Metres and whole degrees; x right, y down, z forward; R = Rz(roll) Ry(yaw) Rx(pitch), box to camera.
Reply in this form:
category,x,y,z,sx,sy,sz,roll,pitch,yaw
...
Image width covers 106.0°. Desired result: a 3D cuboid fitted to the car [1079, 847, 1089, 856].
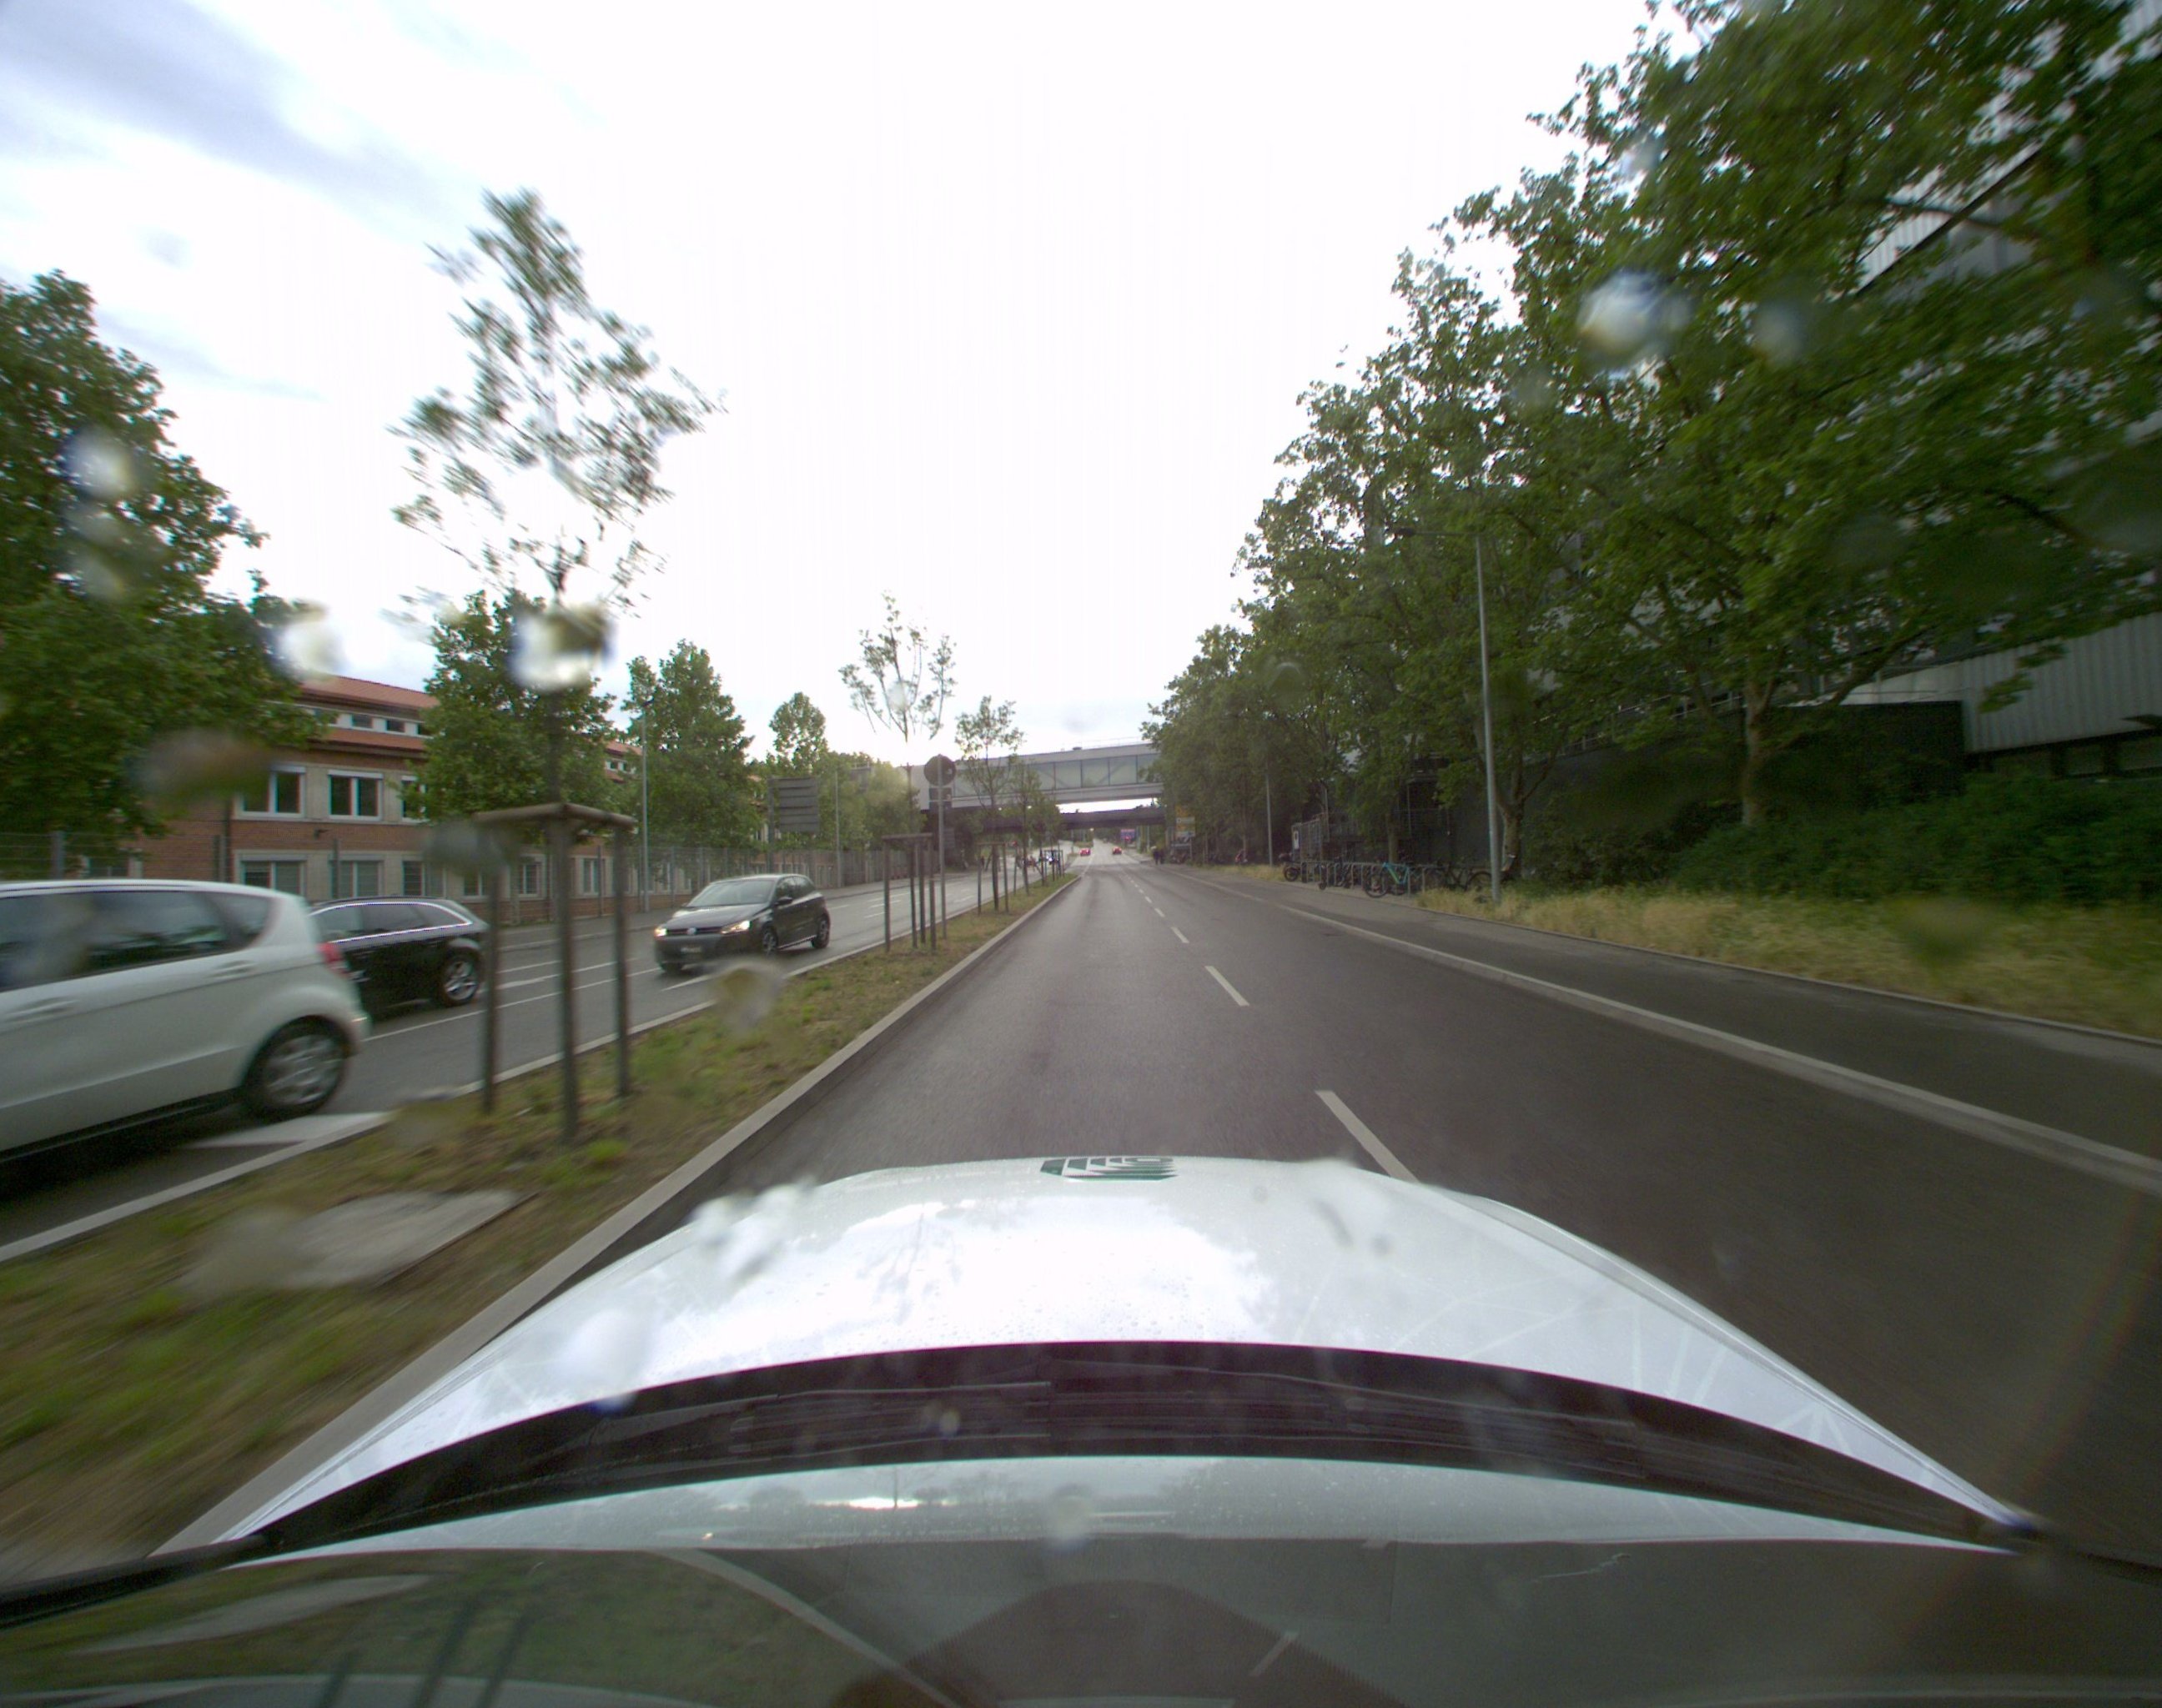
category,x,y,z,sx,sy,sz,roll,pitch,yaw
car,0.693,-0.468,170.497,2.070,1.718,4.197,-1,-1,-1

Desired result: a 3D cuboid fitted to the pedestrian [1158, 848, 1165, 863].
category,x,y,z,sx,sy,sz,roll,pitch,yaw
pedestrian,8.746,0.146,88.203,0.646,1.596,0.581,-3,0,13

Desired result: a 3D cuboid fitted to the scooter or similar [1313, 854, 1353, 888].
category,x,y,z,sx,sy,sz,roll,pitch,yaw
scooter or similar,8.436,0.570,27.261,1.210,1.091,0.312,-3,0,-3

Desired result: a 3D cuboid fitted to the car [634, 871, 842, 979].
category,x,y,z,sx,sy,sz,roll,pitch,yaw
car,-5.518,1.055,13.717,1.572,1.404,4.113,-3,0,2

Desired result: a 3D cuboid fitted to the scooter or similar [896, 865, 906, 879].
category,x,y,z,sx,sy,sz,roll,pitch,yaw
scooter or similar,-16.112,1.628,72.862,0.309,1.218,1.312,-3,0,13

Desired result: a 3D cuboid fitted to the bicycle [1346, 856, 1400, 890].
category,x,y,z,sx,sy,sz,roll,pitch,yaw
bicycle,9.357,0.599,26.129,1.546,1.005,0.393,-3,0,1

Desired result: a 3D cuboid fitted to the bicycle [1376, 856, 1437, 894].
category,x,y,z,sx,sy,sz,roll,pitch,yaw
bicycle,9.306,0.589,23.325,1.546,1.005,0.393,-3,0,1

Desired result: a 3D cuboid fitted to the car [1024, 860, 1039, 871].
category,x,y,z,sx,sy,sz,roll,pitch,yaw
car,-6.887,1.570,113.605,1.710,1.437,3.772,-4,0,0

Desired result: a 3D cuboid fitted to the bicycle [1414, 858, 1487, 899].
category,x,y,z,sx,sy,sz,roll,pitch,yaw
bicycle,9.304,0.606,20.519,1.602,0.939,0.387,-3,-1,1

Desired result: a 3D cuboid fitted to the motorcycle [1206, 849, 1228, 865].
category,x,y,z,sx,sy,sz,roll,pitch,yaw
motorcycle,12.115,0.265,72.572,1.851,1.253,0.627,-3,0,-15

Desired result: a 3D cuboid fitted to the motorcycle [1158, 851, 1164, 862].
category,x,y,z,sx,sy,sz,roll,pitch,yaw
motorcycle,8.682,0.229,88.446,0.468,1.136,1.819,-3,0,1

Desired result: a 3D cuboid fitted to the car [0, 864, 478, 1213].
category,x,y,z,sx,sy,sz,roll,pitch,yaw
car,-5.852,0.908,4.294,1.764,1.589,4.488,-3,-1,3

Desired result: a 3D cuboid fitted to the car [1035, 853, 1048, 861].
category,x,y,z,sx,sy,sz,roll,pitch,yaw
car,-7.092,0.558,147.917,2.057,1.361,4.756,-3,0,0

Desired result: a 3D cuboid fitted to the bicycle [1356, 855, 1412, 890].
category,x,y,z,sx,sy,sz,roll,pitch,yaw
bicycle,9.415,0.575,25.307,1.546,1.005,0.393,-3,0,1

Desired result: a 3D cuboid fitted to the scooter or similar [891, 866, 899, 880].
category,x,y,z,sx,sy,sz,roll,pitch,yaw
scooter or similar,-16.138,1.631,70.667,0.310,1.218,1.308,-3,0,2

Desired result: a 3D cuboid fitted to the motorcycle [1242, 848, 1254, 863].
category,x,y,z,sx,sy,sz,roll,pitch,yaw
motorcycle,14.017,0.135,68.386,0.643,1.279,1.991,-3,0,1

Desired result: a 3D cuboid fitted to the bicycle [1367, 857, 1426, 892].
category,x,y,z,sx,sy,sz,roll,pitch,yaw
bicycle,9.388,0.601,24.246,1.546,0.958,0.393,-3,0,1

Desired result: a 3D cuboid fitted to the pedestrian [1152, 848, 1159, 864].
category,x,y,z,sx,sy,sz,roll,pitch,yaw
pedestrian,8.104,0.194,88.414,0.607,1.721,0.895,-3,0,11

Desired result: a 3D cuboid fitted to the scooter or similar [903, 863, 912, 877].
category,x,y,z,sx,sy,sz,roll,pitch,yaw
scooter or similar,-16.028,1.450,75.322,0.310,1.218,1.310,-3,0,6

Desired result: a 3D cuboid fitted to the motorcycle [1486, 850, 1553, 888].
category,x,y,z,sx,sy,sz,roll,pitch,yaw
motorcycle,12.867,0.429,23.909,1.602,1.001,0.577,-3,-1,1

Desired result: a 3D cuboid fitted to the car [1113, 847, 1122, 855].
category,x,y,z,sx,sy,sz,roll,pitch,yaw
car,7.598,-0.654,169.662,1.739,1.470,4.167,-2,1,1

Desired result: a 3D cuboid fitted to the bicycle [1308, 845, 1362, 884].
category,x,y,z,sx,sy,sz,roll,pitch,yaw
bicycle,9.453,0.396,30.338,1.859,1.348,0.446,-3,0,-11

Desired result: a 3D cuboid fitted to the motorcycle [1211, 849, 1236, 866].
category,x,y,z,sx,sy,sz,roll,pitch,yaw
motorcycle,11.119,0.275,63.584,1.851,1.191,0.519,-3,0,-15

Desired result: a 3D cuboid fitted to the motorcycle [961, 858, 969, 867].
category,x,y,z,sx,sy,sz,roll,pitch,yaw
motorcycle,-15.212,1.090,106.917,0.466,1.158,1.935,-3,1,5

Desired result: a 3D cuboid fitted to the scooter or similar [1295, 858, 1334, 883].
category,x,y,z,sx,sy,sz,roll,pitch,yaw
scooter or similar,9.340,0.658,32.584,1.476,0.937,0.364,-3,0,-16

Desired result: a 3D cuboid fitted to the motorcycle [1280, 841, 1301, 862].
category,x,y,z,sx,sy,sz,roll,pitch,yaw
motorcycle,13.982,-0.169,54.380,0.507,1.365,1.492,0,-1,-22

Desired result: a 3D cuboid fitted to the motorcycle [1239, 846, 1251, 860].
category,x,y,z,sx,sy,sz,roll,pitch,yaw
motorcycle,14.849,-0.099,73.700,0.345,1.279,2.084,-3,0,29

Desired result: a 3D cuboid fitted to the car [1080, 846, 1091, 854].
category,x,y,z,sx,sy,sz,roll,pitch,yaw
car,0.970,-0.840,180.875,2.157,1.582,4.668,-1,-1,3

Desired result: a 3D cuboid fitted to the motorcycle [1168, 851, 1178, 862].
category,x,y,z,sx,sy,sz,roll,pitch,yaw
motorcycle,9.985,0.300,88.376,0.469,1.213,1.939,-3,0,-8

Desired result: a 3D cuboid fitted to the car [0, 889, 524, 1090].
category,x,y,z,sx,sy,sz,roll,pitch,yaw
car,-8.663,1.221,8.918,1.766,1.404,4.616,-3,0,2

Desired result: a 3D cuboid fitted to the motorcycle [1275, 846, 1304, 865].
category,x,y,z,sx,sy,sz,roll,pitch,yaw
motorcycle,14.504,0.107,56.640,1.904,1.257,0.492,-1,-1,7

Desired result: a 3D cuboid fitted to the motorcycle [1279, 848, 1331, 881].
category,x,y,z,sx,sy,sz,roll,pitch,yaw
motorcycle,9.335,0.434,33.993,1.994,1.273,0.443,-3,0,13

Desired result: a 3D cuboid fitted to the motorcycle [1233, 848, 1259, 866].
category,x,y,z,sx,sy,sz,roll,pitch,yaw
motorcycle,10.851,0.180,53.519,1.643,1.150,0.494,-1,-1,9

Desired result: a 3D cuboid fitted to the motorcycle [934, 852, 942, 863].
category,x,y,z,sx,sy,sz,roll,pitch,yaw
motorcycle,-16.404,0.373,93.723,0.467,1.205,1.997,-3,1,1

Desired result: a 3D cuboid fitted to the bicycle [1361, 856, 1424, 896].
category,x,y,z,sx,sy,sz,roll,pitch,yaw
bicycle,8.533,0.602,22.333,1.546,1.005,0.393,-3,0,1

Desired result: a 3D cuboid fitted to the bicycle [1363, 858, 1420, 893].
category,x,y,z,sx,sy,sz,roll,pitch,yaw
bicycle,9.398,0.654,24.681,1.546,0.958,0.393,-3,0,1

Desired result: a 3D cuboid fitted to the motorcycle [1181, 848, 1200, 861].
category,x,y,z,sx,sy,sz,roll,pitch,yaw
motorcycle,11.574,0.077,86.401,1.919,1.297,0.551,-3,0,36

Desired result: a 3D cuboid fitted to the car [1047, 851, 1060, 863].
category,x,y,z,sx,sy,sz,roll,pitch,yaw
car,-3.954,0.373,118.209,1.579,1.605,3.856,-4,0,1

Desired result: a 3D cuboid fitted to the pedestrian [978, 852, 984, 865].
category,x,y,z,sx,sy,sz,roll,pitch,yaw
pedestrian,-13.874,0.597,113.091,0.516,1.816,0.802,-2,0,11

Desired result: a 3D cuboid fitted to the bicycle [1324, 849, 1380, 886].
category,x,y,z,sx,sy,sz,roll,pitch,yaw
bicycle,9.484,0.472,28.551,1.785,1.167,0.447,-3,0,-5
